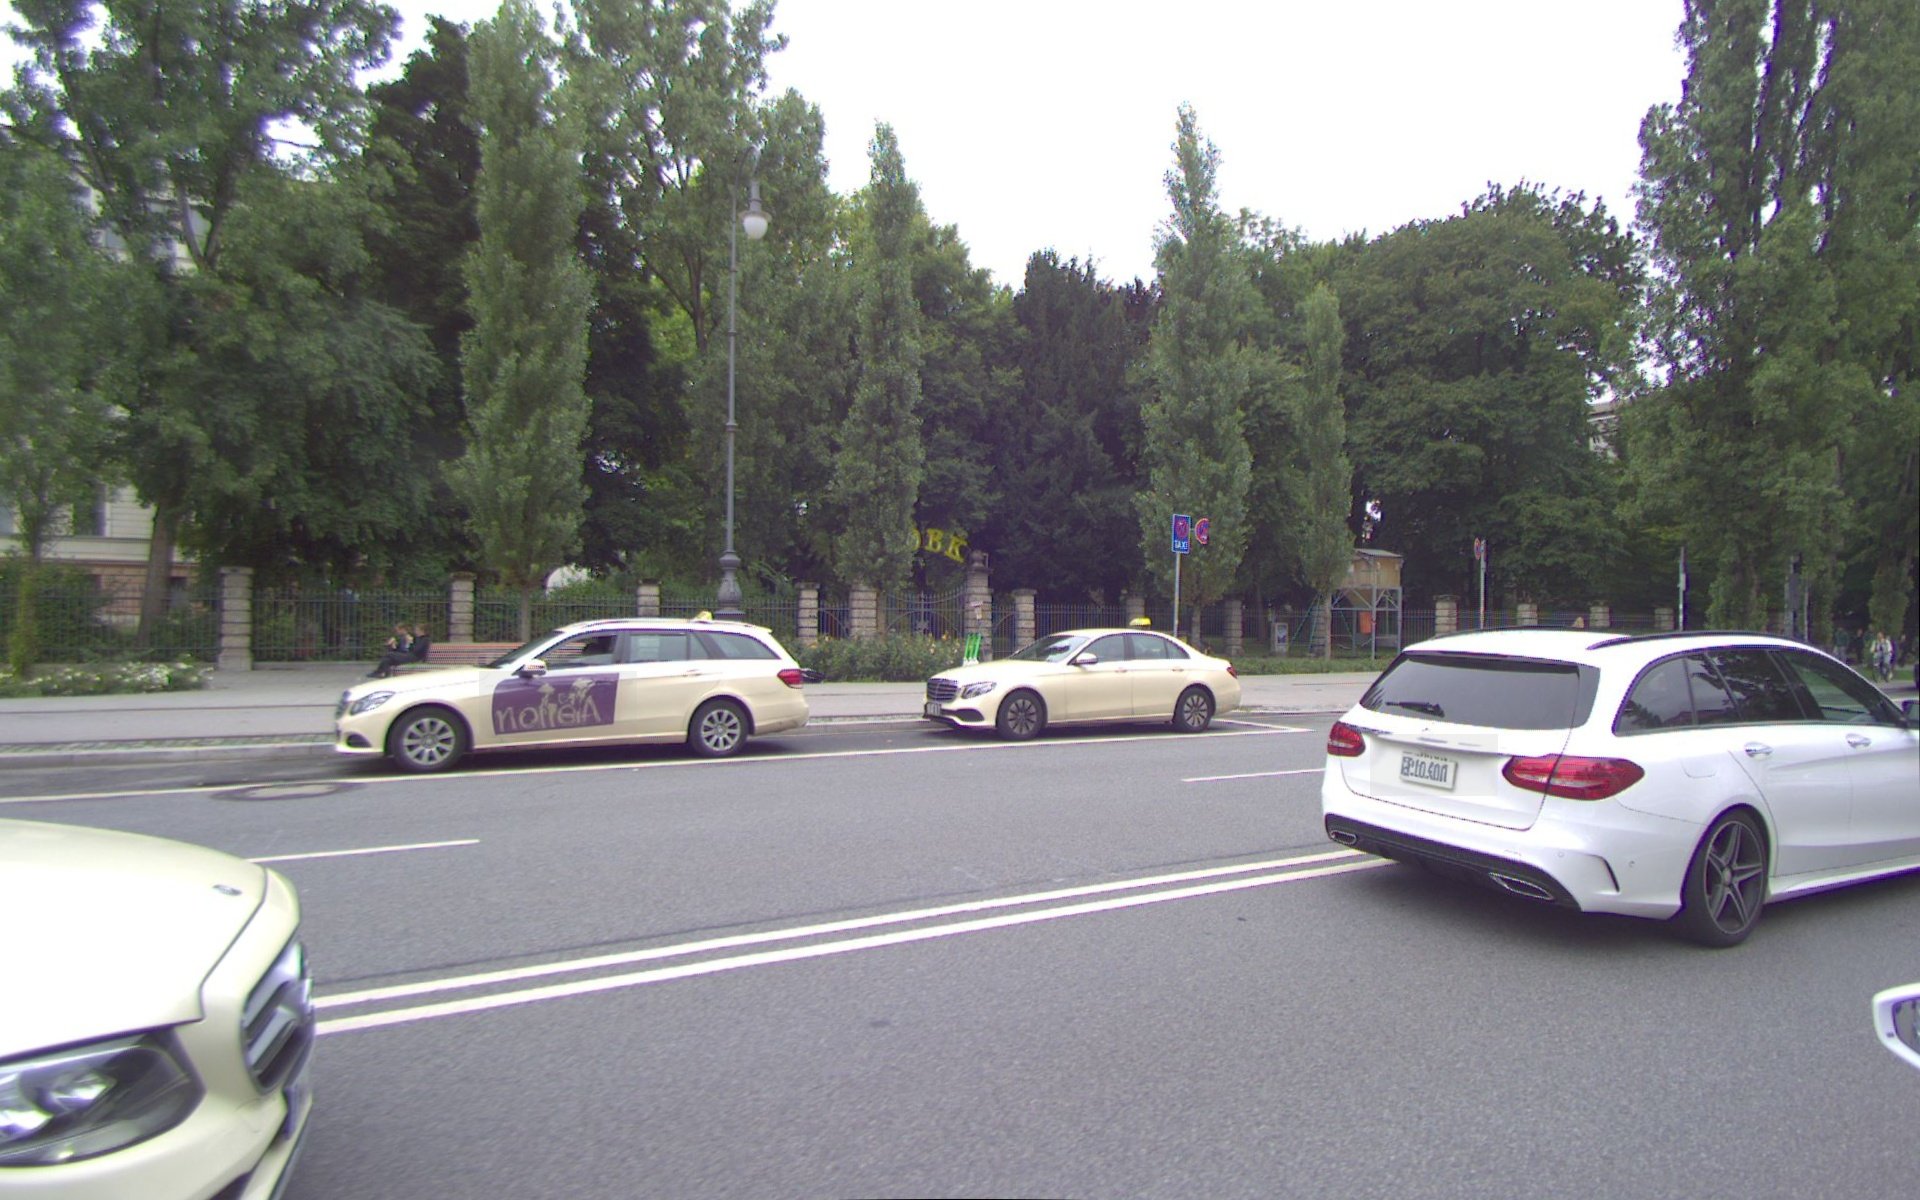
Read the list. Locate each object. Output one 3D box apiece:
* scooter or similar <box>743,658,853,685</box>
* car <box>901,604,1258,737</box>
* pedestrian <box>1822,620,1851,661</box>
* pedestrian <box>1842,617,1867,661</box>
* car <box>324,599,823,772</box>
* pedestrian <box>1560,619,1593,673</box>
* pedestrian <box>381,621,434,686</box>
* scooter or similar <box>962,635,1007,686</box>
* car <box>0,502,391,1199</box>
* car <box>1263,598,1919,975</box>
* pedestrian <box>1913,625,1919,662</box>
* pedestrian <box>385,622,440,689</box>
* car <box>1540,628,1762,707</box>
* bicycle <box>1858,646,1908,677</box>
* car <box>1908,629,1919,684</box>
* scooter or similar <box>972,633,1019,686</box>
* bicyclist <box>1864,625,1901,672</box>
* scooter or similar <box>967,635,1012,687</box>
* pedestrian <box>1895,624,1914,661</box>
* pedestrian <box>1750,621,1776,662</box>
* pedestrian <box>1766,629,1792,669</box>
[{"bbox_3d":[-3.835,1.686,23.858,2.193,0.525,1.332,0,-1,22],"label":"scooter or similar"},{"bbox_3d":[1.779,0.992,14.464,4.904,1.645,1.930,3,-2,-28],"label":"car"},{"bbox_3d":[40.953,1.891,46.933,0.747,1.879,0.744,1,0,-27],"label":"pedestrian"},{"bbox_3d":[41.436,1.805,46.510,0.631,2.040,0.663,1,0,-28],"label":"pedestrian"},{"bbox_3d":[-4.103,0.900,11.139,4.799,1.579,1.811,2,-3,-29],"label":"car"},{"bbox_3d":[19.976,1.484,32.550,0.777,1.743,0.580,1,0,-29],"label":"pedestrian"},{"bbox_3d":[-11.968,1.149,21.769,0.568,1.355,0.837,0,-1,35],"label":"pedestrian"},{"bbox_3d":[0.609,1.476,24.607,1.108,1.217,0.242,2,-1,-28],"label":"scooter or similar"},{"bbox_3d":[-3.393,0.581,1.234,4.634,1.596,1.905,2,1,-30],"label":"car"},{"bbox_3d":[4.123,0.807,5.817,4.523,1.474,1.819,2,0,-27],"label":"car"},{"bbox_3d":[45.247,2.061,47.179,0.562,1.730,0.506,1,0,-27],"label":"pedestrian"},{"bbox_3d":[-11.533,1.155,21.180,0.568,1.355,0.837,0,-1,36],"label":"pedestrian"},{"bbox_3d":[14.785,1.364,21.455,4.729,1.517,1.924,1,-1,-27],"label":"car"},{"bbox_3d":[30.343,2.014,33.023,1.714,0.951,0.704,2,0,-30],"label":"bicycle"},{"bbox_3d":[30.344,1.675,29.886,4.556,1.617,1.775,1,-3,-29],"label":"car"},{"bbox_3d":[0.846,1.424,24.130,1.126,1.258,0.257,2,-1,-27],"label":"scooter or similar"},{"bbox_3d":[30.294,1.575,32.986,0.851,1.518,0.690,1,-1,-29],"label":"bicyclist"},{"bbox_3d":[0.725,1.477,24.371,1.108,1.217,0.242,2,-1,-28],"label":"scooter or similar"},{"bbox_3d":[44.872,2.034,47.724,0.562,1.730,0.506,1,0,-27],"label":"pedestrian"},{"bbox_3d":[33.449,1.727,41.845,0.695,1.682,0.616,1,0,-27],"label":"pedestrian"},{"bbox_3d":[36.375,2.150,44.604,0.723,1.745,0.664,1,-1,-27],"label":"pedestrian"}]
